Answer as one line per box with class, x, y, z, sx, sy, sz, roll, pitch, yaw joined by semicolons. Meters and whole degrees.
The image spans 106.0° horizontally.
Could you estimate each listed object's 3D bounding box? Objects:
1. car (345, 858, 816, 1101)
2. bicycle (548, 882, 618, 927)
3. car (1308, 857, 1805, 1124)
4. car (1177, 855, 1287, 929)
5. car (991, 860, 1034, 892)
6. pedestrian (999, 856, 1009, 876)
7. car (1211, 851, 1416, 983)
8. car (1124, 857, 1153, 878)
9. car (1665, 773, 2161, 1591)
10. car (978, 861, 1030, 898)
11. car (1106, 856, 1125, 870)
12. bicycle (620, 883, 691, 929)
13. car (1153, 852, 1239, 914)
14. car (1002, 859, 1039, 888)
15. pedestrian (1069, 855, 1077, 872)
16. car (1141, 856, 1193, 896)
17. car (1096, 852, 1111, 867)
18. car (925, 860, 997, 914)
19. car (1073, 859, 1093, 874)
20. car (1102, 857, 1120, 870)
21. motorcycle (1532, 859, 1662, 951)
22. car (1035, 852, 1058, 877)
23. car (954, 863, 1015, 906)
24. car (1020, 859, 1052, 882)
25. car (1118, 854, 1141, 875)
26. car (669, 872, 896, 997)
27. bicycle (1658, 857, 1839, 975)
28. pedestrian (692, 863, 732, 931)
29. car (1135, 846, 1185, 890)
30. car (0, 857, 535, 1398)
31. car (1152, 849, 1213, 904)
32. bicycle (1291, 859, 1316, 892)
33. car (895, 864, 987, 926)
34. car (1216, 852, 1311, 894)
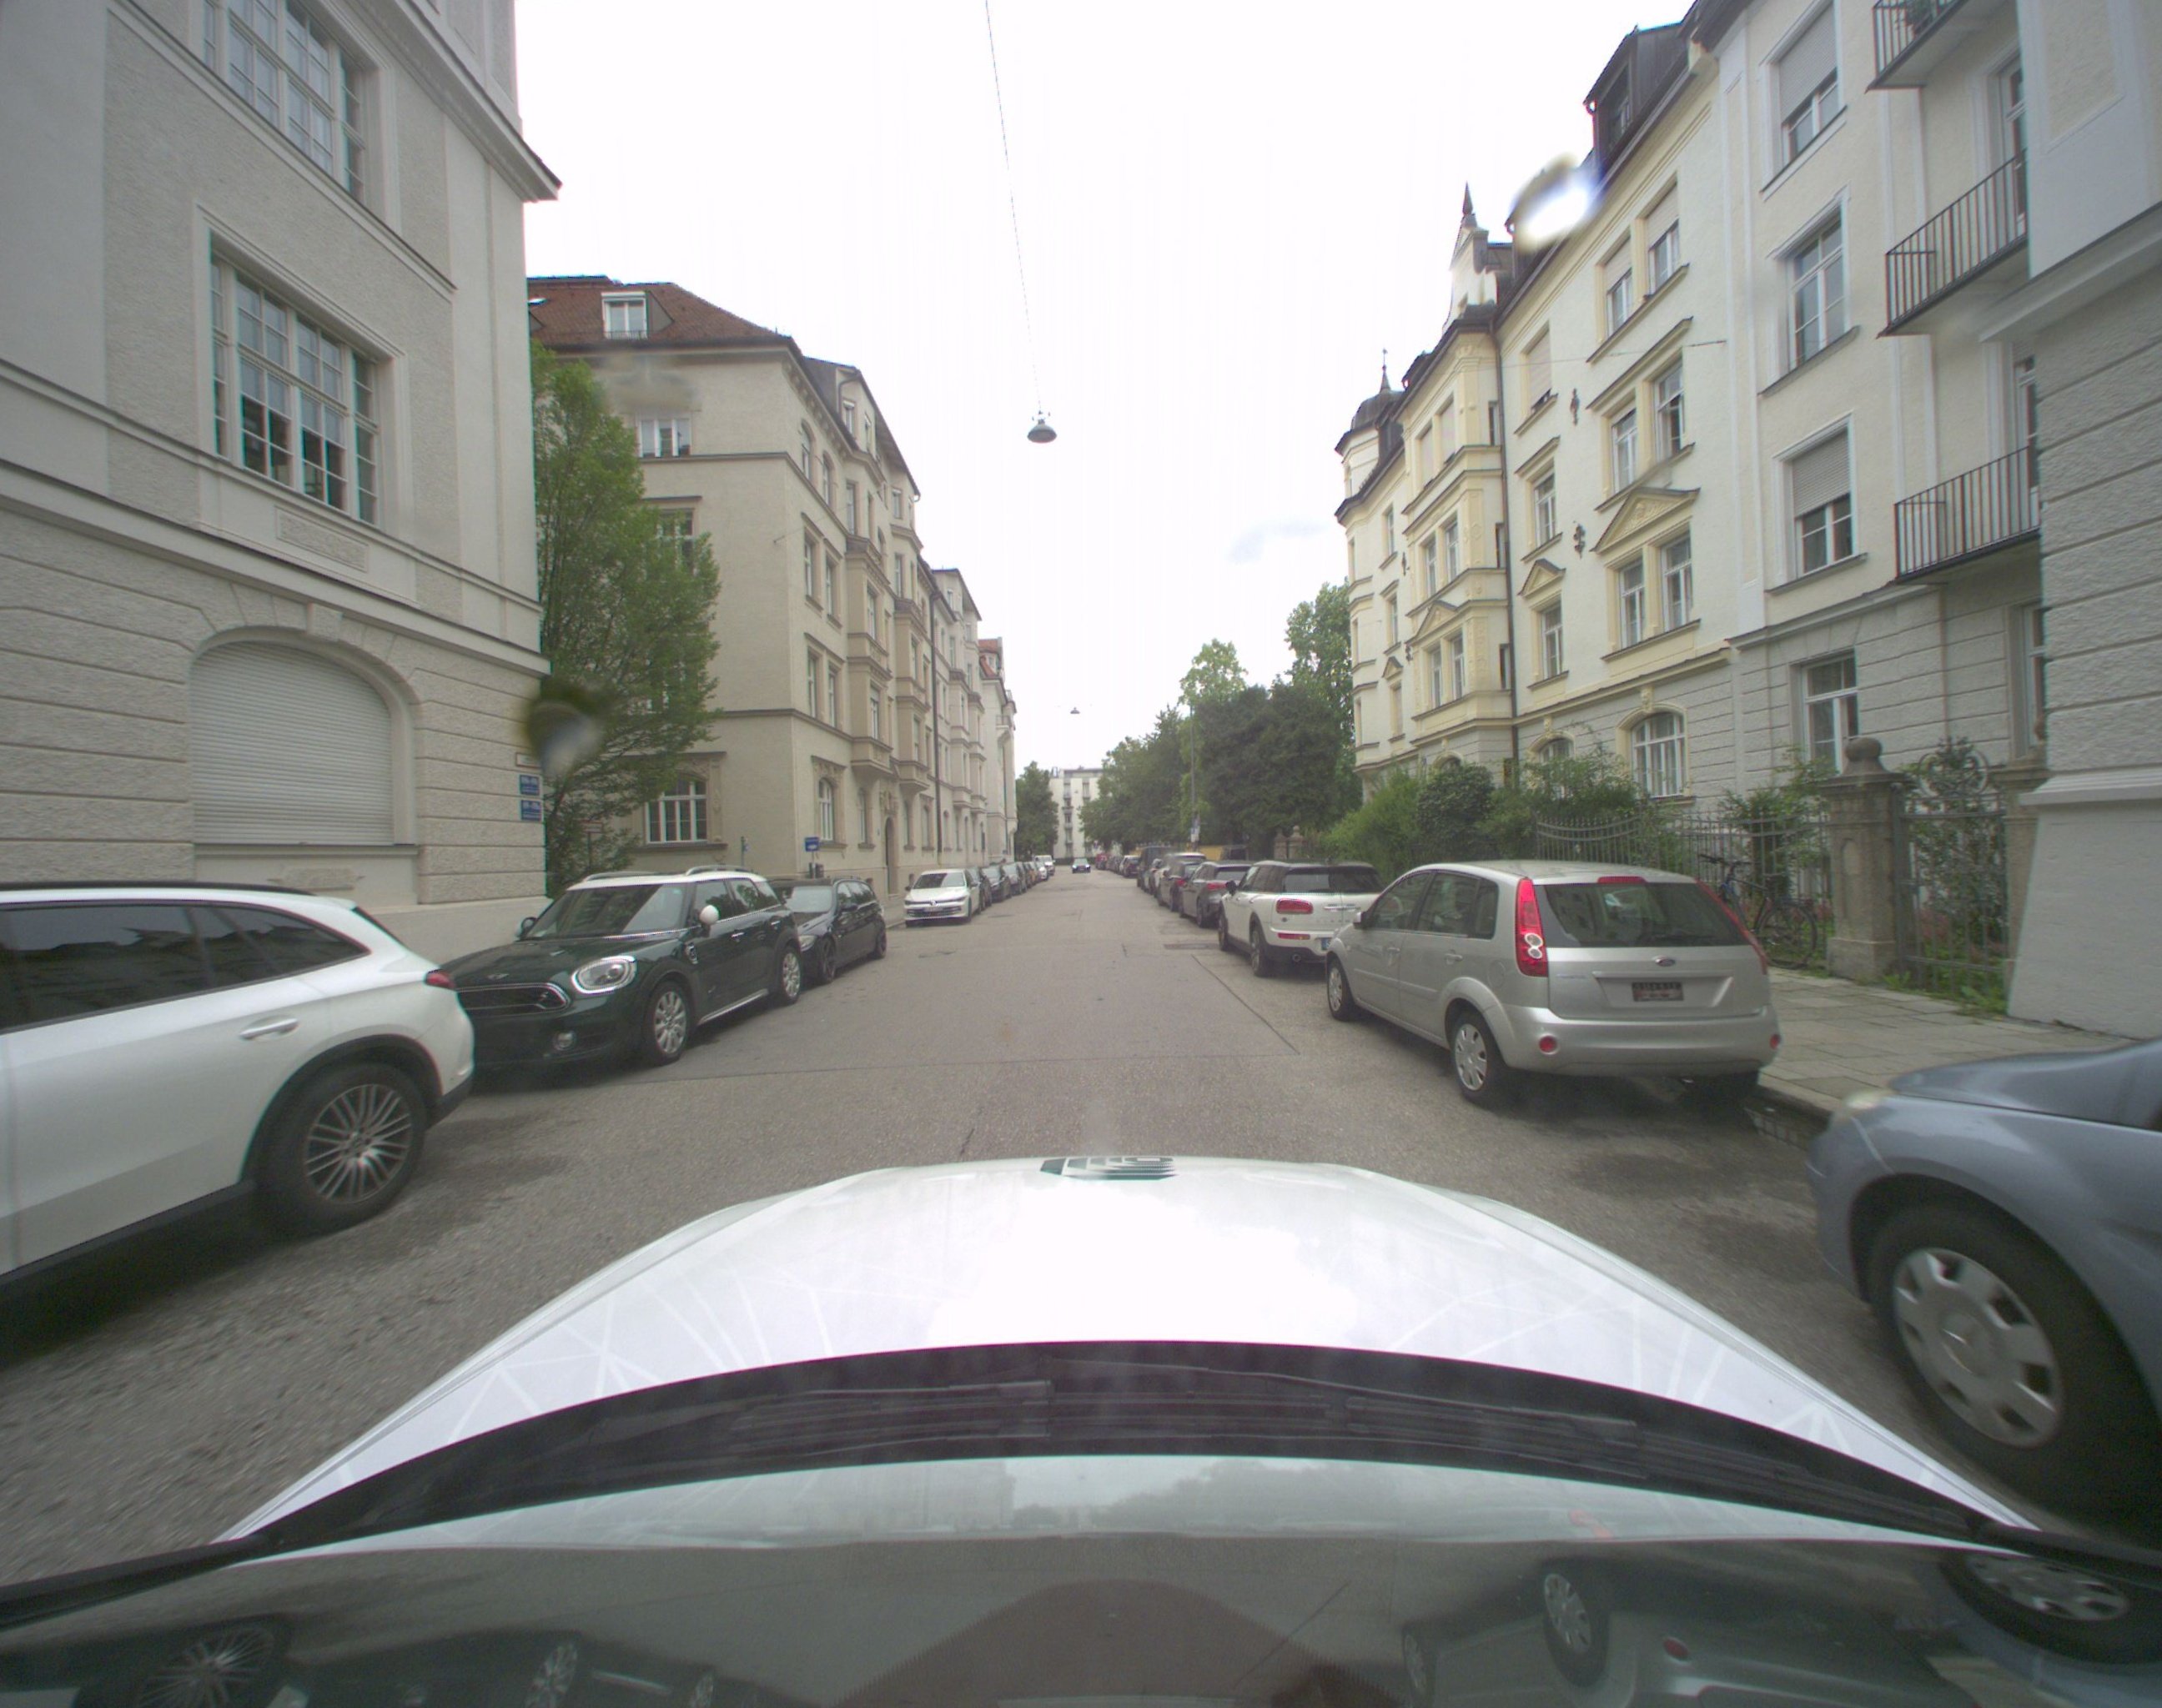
car;-4.207;0.891;7.842;1.830;1.618;4.245;-2;0;1
bicycle;-13.177;1.307;21.612;0.582;1.003;1.909;0;2;3
car;3.027;0.740;6.091;1.748;1.406;3.452;-1;0;1
car;3.325;0.786;18.691;1.679;1.504;4.015;-1;0;-1
car;-3.612;1.122;43.438;1.747;1.499;4.020;-4;0;1
pedestrian;-6.674;1.052;70.149;0.791;1.679;0.699;-2;0;-6
car;3.018;0.737;11.462;1.778;1.504;4.065;-1;0;1
car;3.951;0.929;56.541;1.832;1.413;4.343;-1;-1;1
car;2.947;0.645;0.766;1.814;1.569;4.404;1;0;3
car;-3.529;1.147;38.156;1.830;1.435;4.246;-4;0;1
car;3.828;1.025;91.008;1.834;1.519;3.943;0;-1;-3
bicycle;-11.149;1.335;21.421;0.691;0.960;2.011;1;3;3
car;3.249;0.761;23.787;1.746;1.610;4.420;0;0;-2
car;-3.535;1.147;48.482;1.634;1.499;3.974;-4;0;2
pedestrian;-1.099;1.360;116.293;0.843;2.285;0.838;-2;-1;-16
car;3.490;0.872;33.577;1.718;1.519;3.629;1;-1;-1
car;3.038;0.743;107.074;1.829;1.927;4.008;1;0;3
car;-4.025;1.051;27.910;1.765;1.518;4.383;-5;0;-1
car;0.146;1.242;82.749;1.869;1.428;4.406;-2;0;-1
car;3.500;1.108;95.187;1.834;1.519;3.943;0;-1;-3
motorcycle;6.900;0.638;11.020;0.604;1.112;1.967;-2;0;4
car;-3.281;0.947;77.466;1.881;2.127;4.704;-4;0;-1
car;-3.806;1.165;32.804;1.828;1.434;4.552;-3;0;0
car;-3.198;1.181;58.949;1.830;1.438;4.276;-4;0;1
car;3.925;0.885;66.479;1.509;1.661;3.671;0;-1;-1
car;-4.259;1.066;12.445;1.781;1.412;4.367;-2;0;1
bicycle;7.152;0.605;8.852;0.432;1.125;1.882;-2;0;2
pedestrian;-9.066;1.050;20.017;0.671;1.626;0.630;-2;0;-2
car;3.682;0.595;38.554;1.944;1.954;4.666;0;1;0
car;-4.245;0.865;2.496;1.908;1.618;4.573;-2;0;2
car;3.512;0.759;28.754;1.716;1.769;4.414;1;-1;2
bicycle;7.575;0.713;27.710;0.453;1.098;1.313;-2;-1;0
car;-3.882;1.098;23.262;1.831;1.434;4.243;-3;0;-1
car;9.706;0.972;43.474;4.523;1.950;1.900;-2;1;-6
